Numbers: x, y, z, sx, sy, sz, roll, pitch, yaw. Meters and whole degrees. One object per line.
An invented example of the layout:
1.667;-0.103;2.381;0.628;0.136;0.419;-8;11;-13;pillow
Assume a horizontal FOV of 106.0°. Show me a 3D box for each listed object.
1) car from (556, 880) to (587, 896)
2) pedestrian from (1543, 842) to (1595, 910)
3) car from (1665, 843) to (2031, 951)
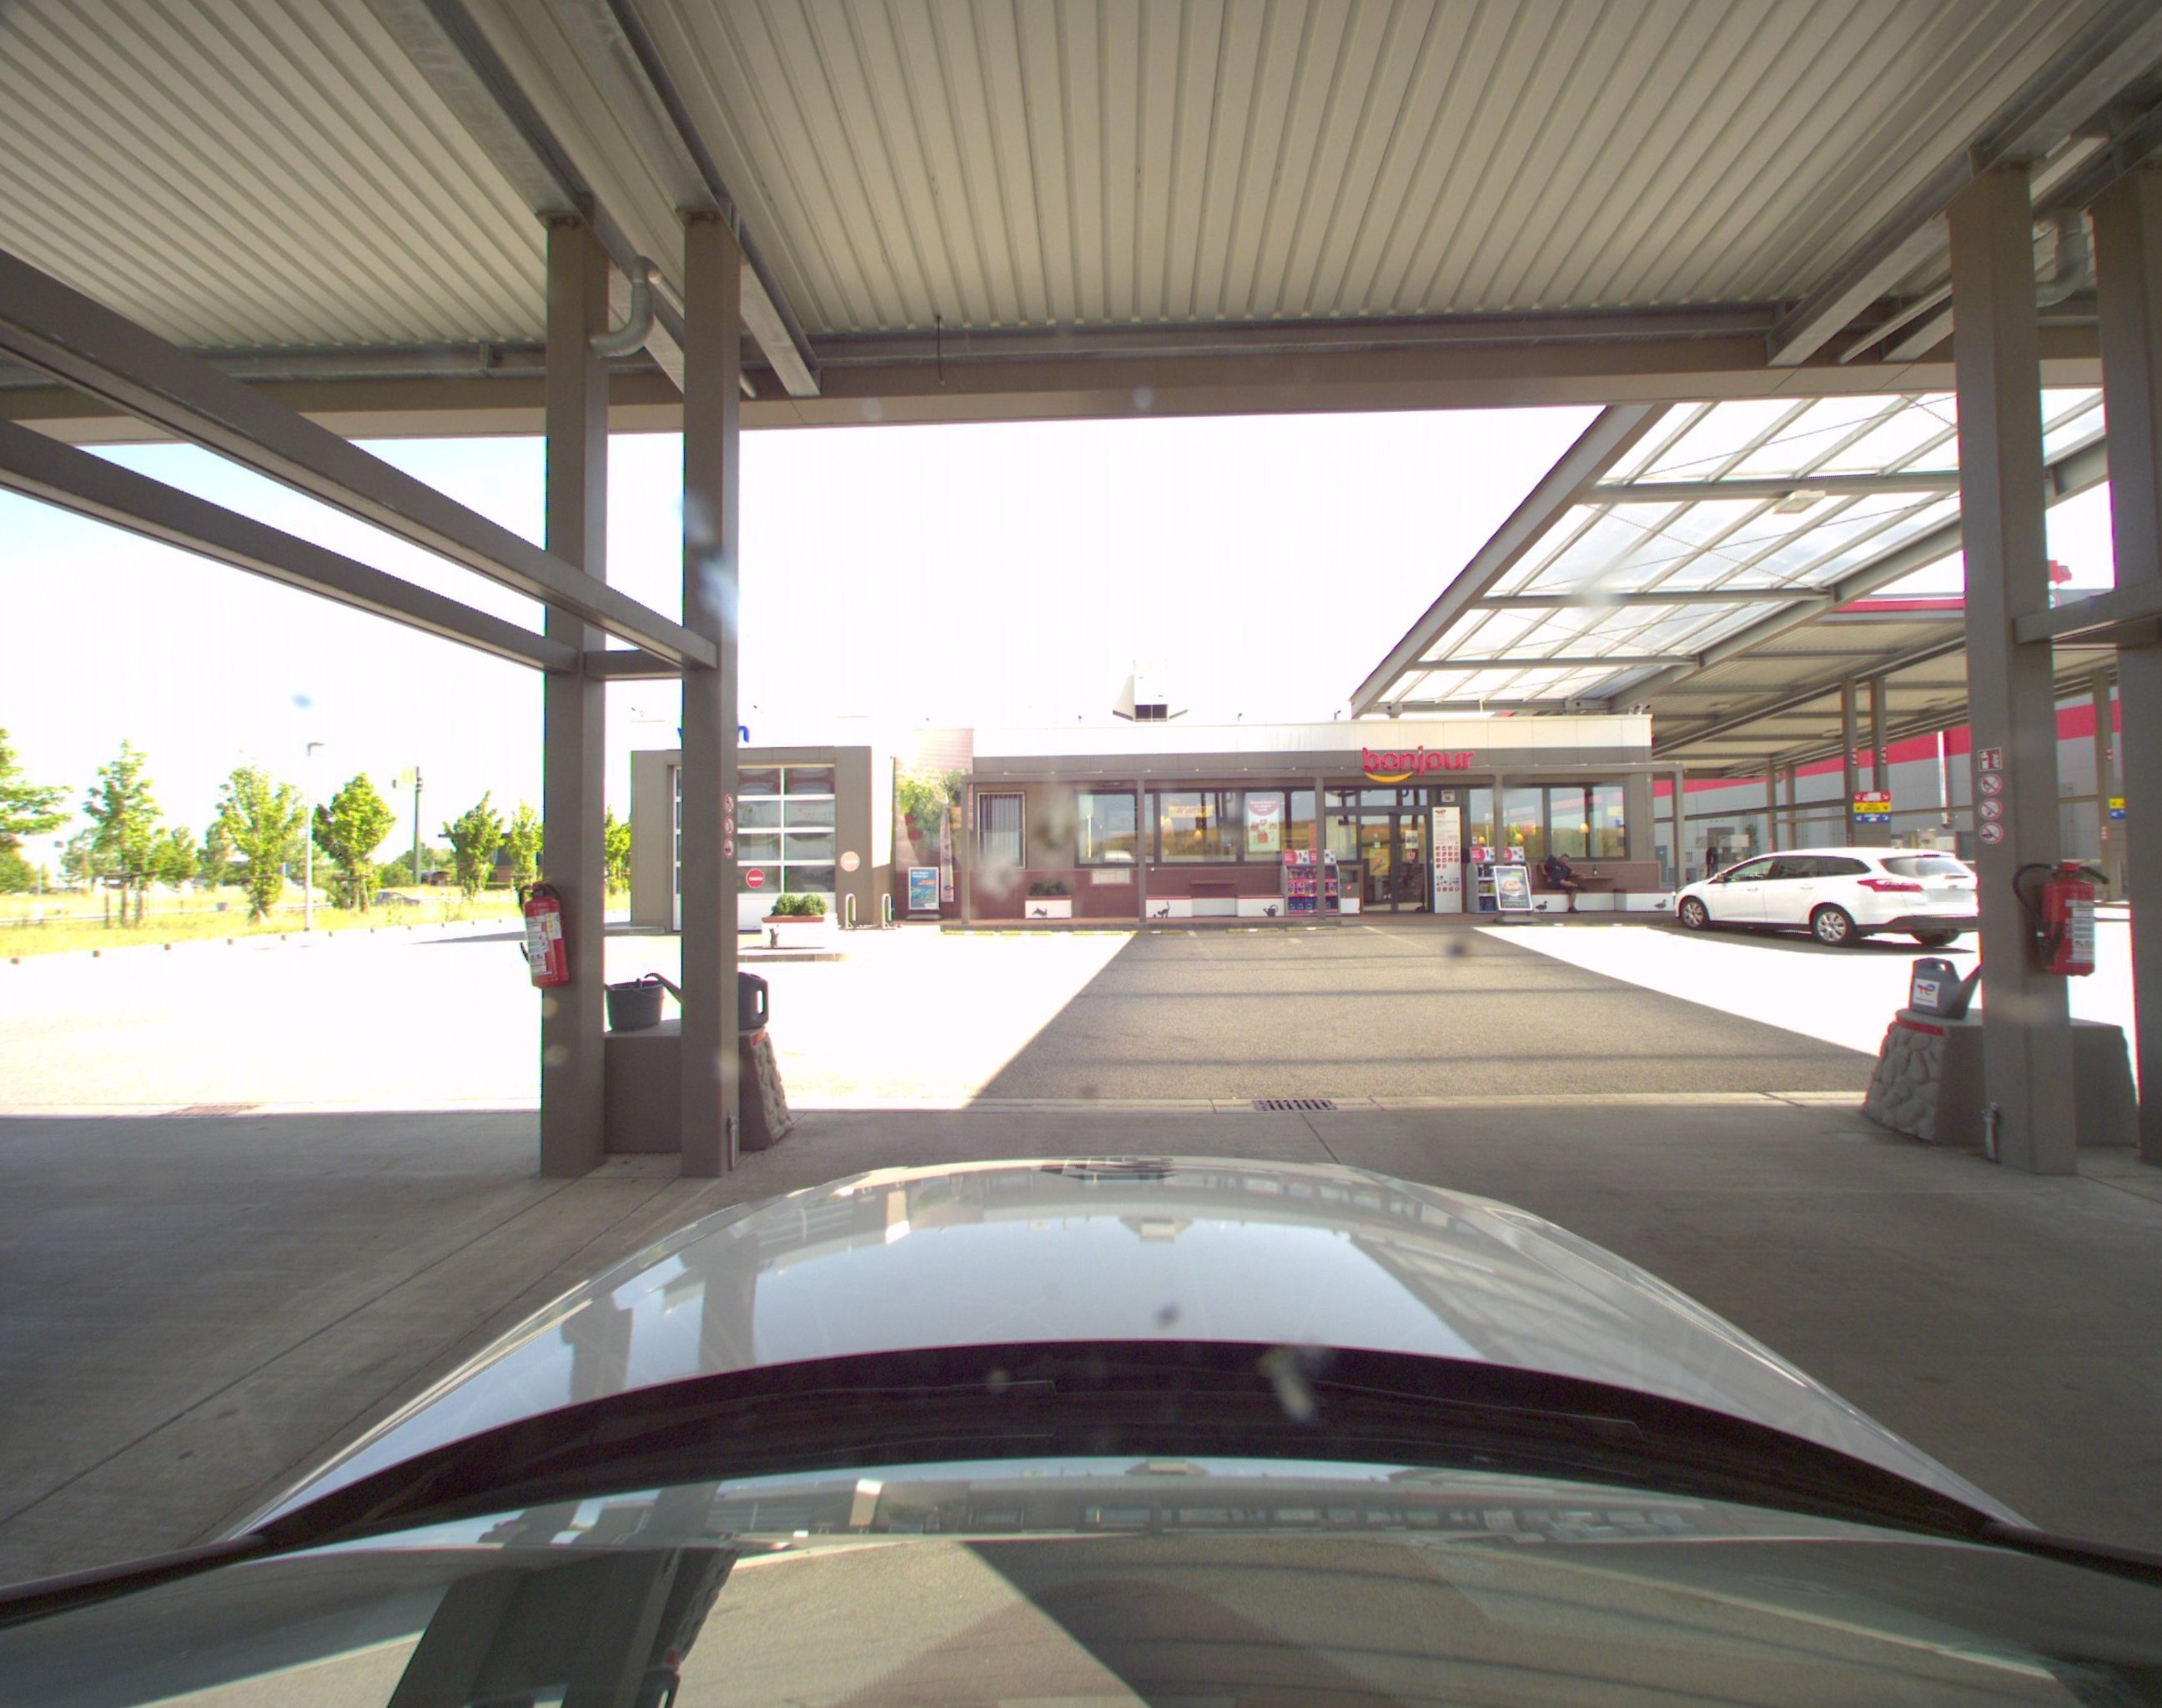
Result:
-56.447;3.702;90.288;1.800;1.596;3.978;-1;0;-16;car
10.565;0.467;17.647;0.698;1.432;0.673;-1;-1;1;pedestrian
12.168;0.610;13.426;1.826;1.457;4.315;-1;0;-3;car
